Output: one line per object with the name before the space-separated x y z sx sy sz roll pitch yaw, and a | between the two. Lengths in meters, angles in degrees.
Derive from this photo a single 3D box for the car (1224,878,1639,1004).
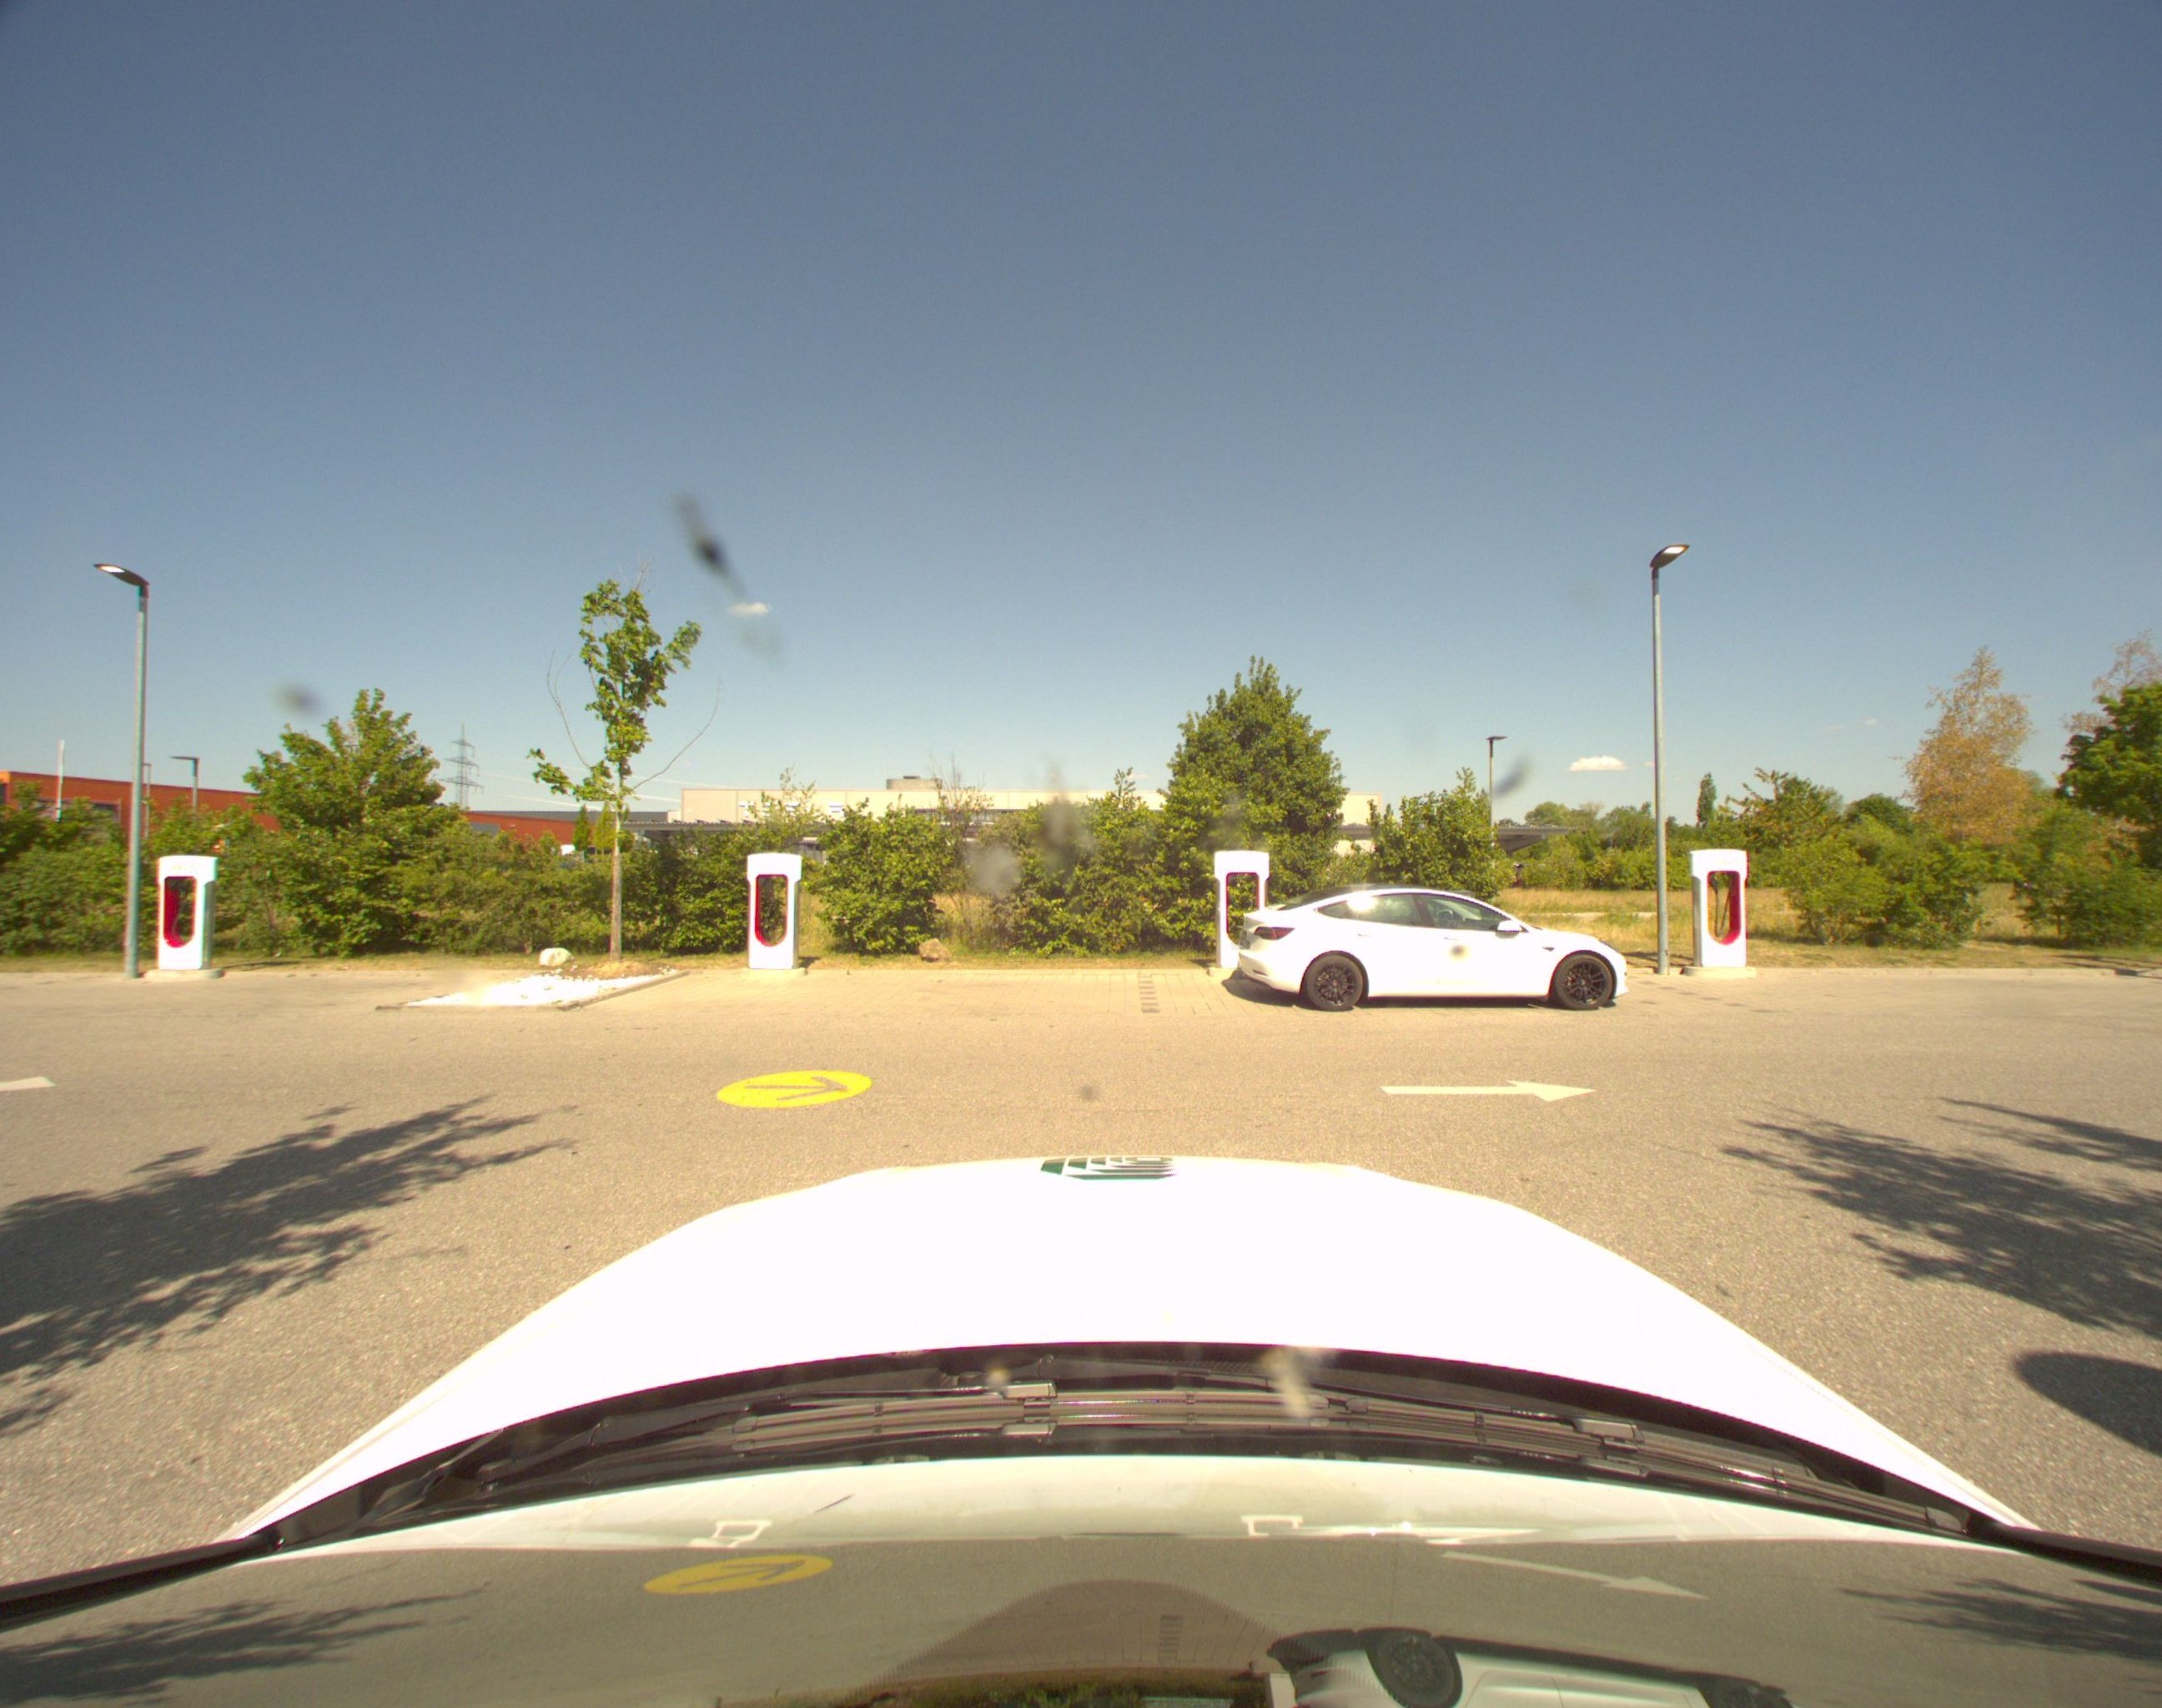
car | 4.152 1.017 10.190 4.419 1.377 1.822 0 -1 0

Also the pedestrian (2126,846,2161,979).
pedestrian | 15.260 0.797 11.130 1.029 1.800 0.736 0 0 -2
